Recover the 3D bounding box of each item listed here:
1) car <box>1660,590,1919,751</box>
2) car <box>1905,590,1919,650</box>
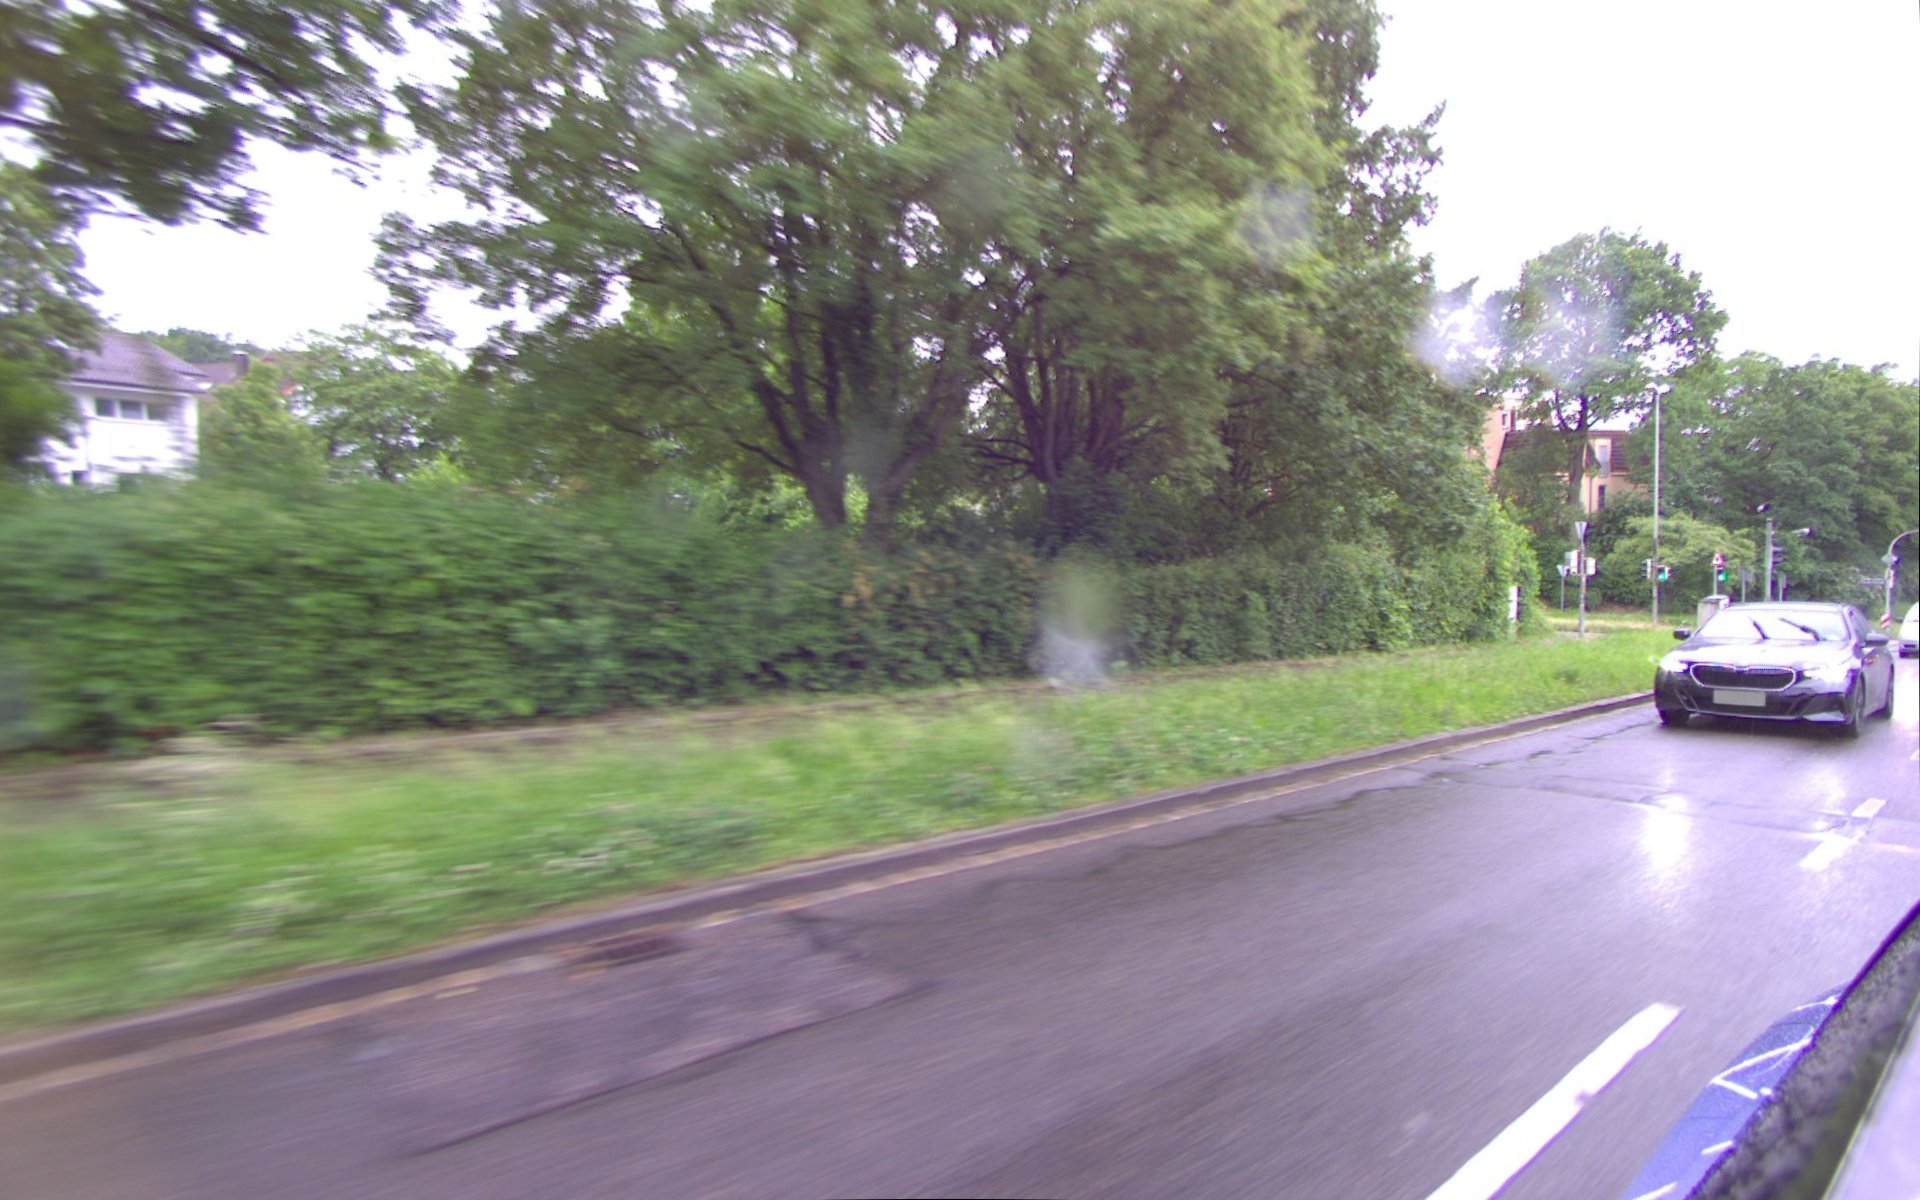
[{"bbox_3d":[10.357,0.711,12.465,4.047,1.574,1.867,-1,3,-41],"label":"car"},{"bbox_3d":[27.523,0.579,27.797,4.047,1.575,1.814,0,3,-41],"label":"car"}]
